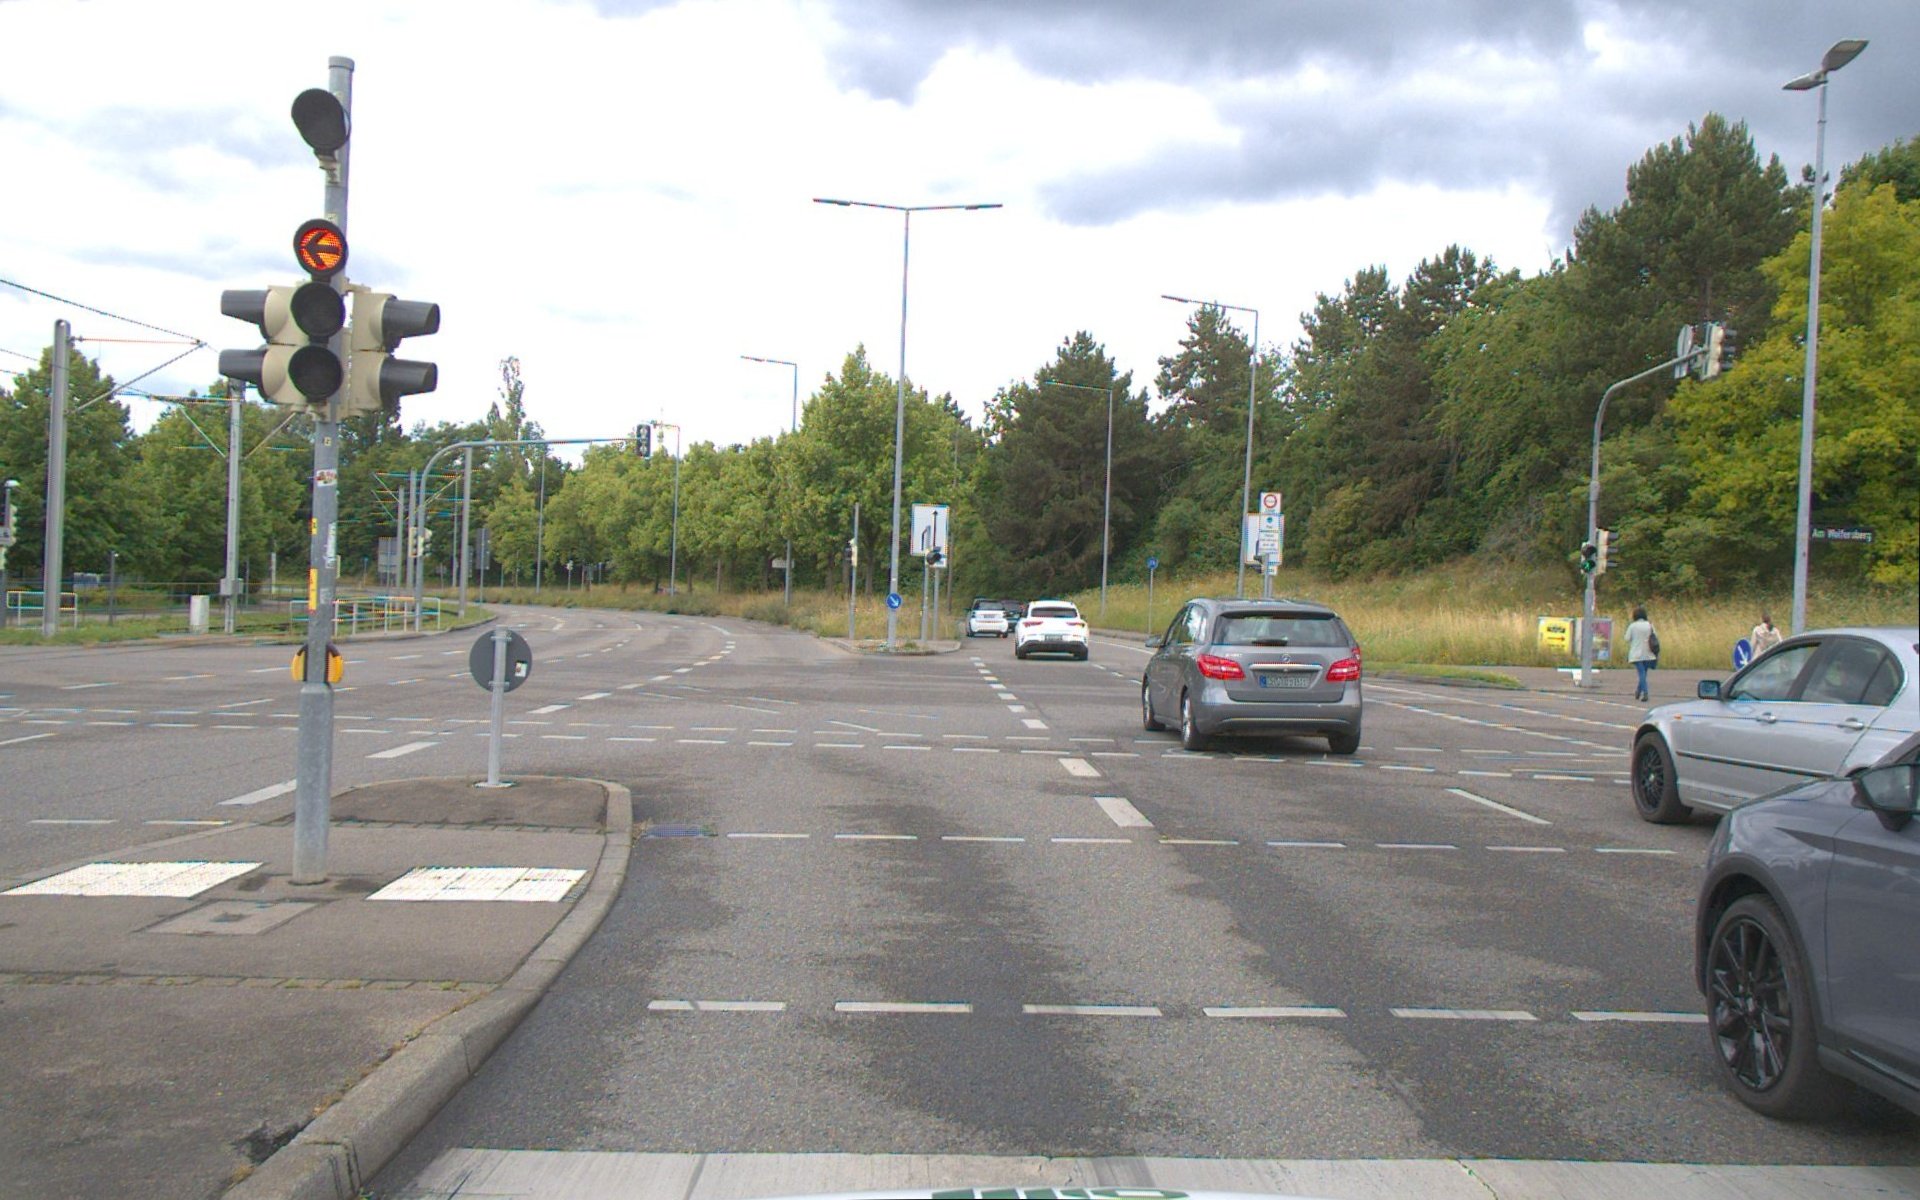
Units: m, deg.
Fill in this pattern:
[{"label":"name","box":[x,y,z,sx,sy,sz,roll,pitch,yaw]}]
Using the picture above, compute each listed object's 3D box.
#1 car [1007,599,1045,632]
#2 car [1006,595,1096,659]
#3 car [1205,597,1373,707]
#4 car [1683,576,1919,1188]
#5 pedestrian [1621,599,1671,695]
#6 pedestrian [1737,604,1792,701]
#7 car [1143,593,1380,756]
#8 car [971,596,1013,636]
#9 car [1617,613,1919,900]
[{"label":"car","box":[3.052,0.717,76.996,1.580,1.479,3.881,1,0,-1]},{"label":"car","box":[2.287,0.679,42.556,1.807,1.533,4.528,1,0,-3]},{"label":"car","box":[5.115,0.752,26.263,1.711,1.511,4.355,1,1,-1]},{"label":"car","box":[3.205,0.733,3.542,1.591,1.519,3.837,1,1,0]},{"label":"pedestrian","box":[12.369,0.843,29.827,0.630,1.691,0.714,1,-1,6]},{"label":"pedestrian","box":[13.906,0.896,28.601,0.630,1.640,0.714,1,-1,5]},{"label":"car","box":[3.108,0.711,17.844,1.711,1.534,4.047,1,0,-1]},{"label":"car","box":[1.279,0.633,67.077,1.560,1.543,2.765,1,0,-2]},{"label":"car","box":[5.770,0.836,10.139,1.711,1.407,4.290,1,0,-1]}]
